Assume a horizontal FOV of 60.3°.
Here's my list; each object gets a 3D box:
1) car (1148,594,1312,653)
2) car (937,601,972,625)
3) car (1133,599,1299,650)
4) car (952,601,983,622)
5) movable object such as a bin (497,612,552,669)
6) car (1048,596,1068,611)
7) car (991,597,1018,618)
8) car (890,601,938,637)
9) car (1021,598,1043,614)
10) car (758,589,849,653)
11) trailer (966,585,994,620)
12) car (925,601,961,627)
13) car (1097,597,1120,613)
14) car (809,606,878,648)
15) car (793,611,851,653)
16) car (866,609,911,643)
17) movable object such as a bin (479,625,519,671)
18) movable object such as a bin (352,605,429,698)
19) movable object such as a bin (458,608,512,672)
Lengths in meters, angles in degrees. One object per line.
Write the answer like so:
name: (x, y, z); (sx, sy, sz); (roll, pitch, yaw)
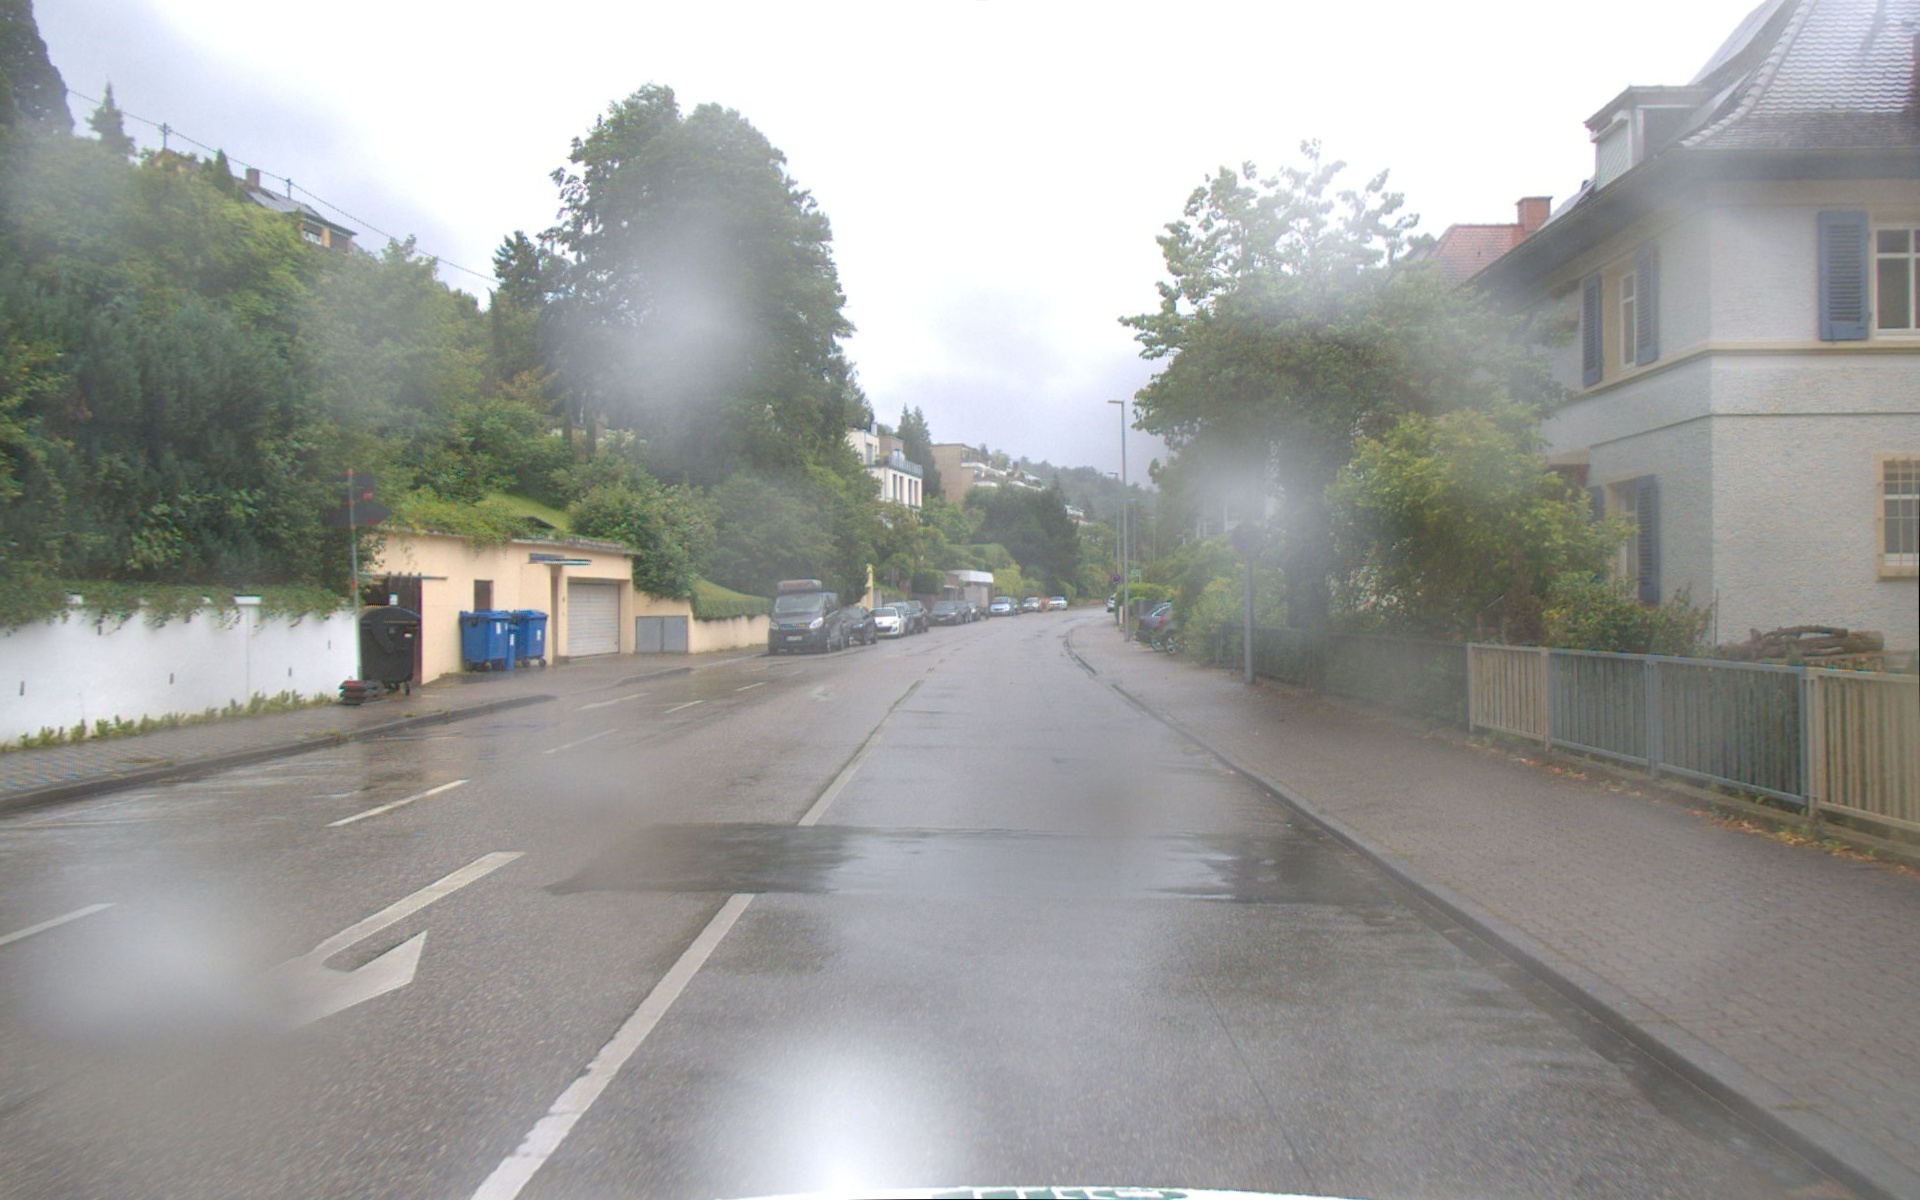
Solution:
car: (7.116, 0.614, 43.685); (3.921, 1.482, 1.765); (-1, 0, 37)
car: (-0.349, 0.855, 109.494); (1.748, 1.440, 4.220); (-2, 0, 6)
car: (7.263, 0.704, 47.079); (4.295, 1.388, 1.912); (-1, -1, 37)
car: (0.551, 0.794, 116.307); (1.770, 1.373, 3.779); (-2, 0, 6)
movable object such as a bin: (-10.414, 0.953, 39.589); (0.803, 1.337, 1.403); (0, 0, 6)
car: (10.565, 0.363, 177.489); (1.718, 1.524, 4.223); (-2, -1, 9)
car: (3.658, 0.579, 136.108); (1.719, 1.566, 3.759); (-4, 0, 8)
car: (-2.360, 0.984, 86.233); (1.835, 1.654, 4.596); (-4, 0, 5)
car: (6.930, 0.569, 158.640); (1.718, 1.427, 3.773); (-3, 0, 8)
car: (-5.071, 0.668, 54.340); (2.113, 1.952, 5.326); (-2, 0, 4)
trailer: (1.504, 0.191, 122.071); (1.504, 2.441, 3.075); (-3, 0, 10)
car: (-1.034, 0.872, 104.113); (1.748, 1.480, 4.758); (-3, 0, 5)
car: (14.174, 0.477, 158.082); (1.751, 1.485, 4.312); (-1, 0, 11)
car: (-4.528, 1.034, 64.924); (1.868, 1.506, 4.758); (-4, -1, 5)
car: (-4.942, 1.117, 59.640); (1.532, 1.388, 3.908); (-3, 0, 2)
car: (-3.266, 1.168, 76.083); (1.680, 1.389, 4.085); (-3, 1, 2)
movable object such as a bin: (-10.664, 1.109, 38.291); (0.720, 1.060, 0.608); (0, -1, 6)
movable object such as a bin: (-9.446, 0.853, 27.470); (0.913, 1.471, 0.861); (2, -1, 0)
movable object such as a bin: (-10.716, 0.901, 37.375); (0.803, 1.406, 1.135); (0, 0, 6)
